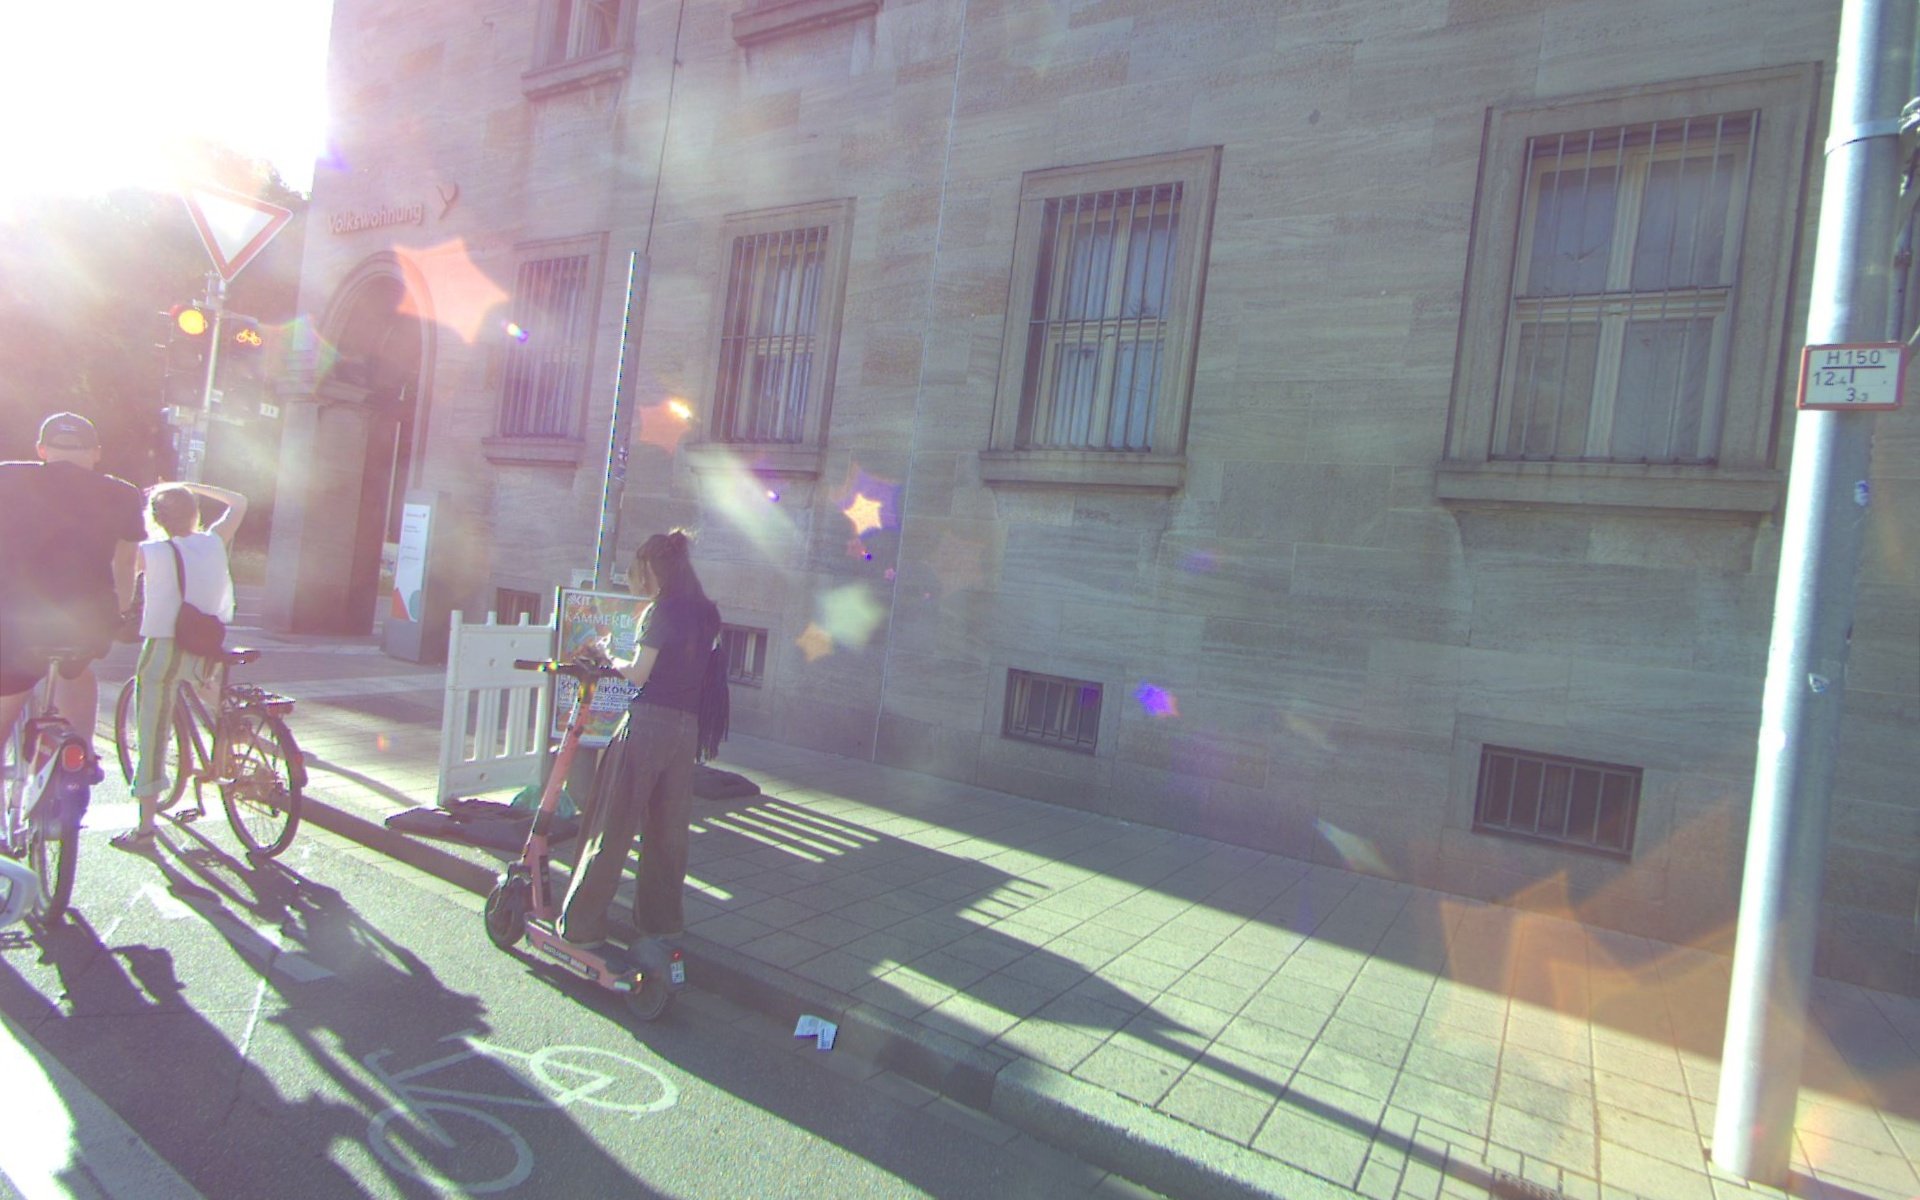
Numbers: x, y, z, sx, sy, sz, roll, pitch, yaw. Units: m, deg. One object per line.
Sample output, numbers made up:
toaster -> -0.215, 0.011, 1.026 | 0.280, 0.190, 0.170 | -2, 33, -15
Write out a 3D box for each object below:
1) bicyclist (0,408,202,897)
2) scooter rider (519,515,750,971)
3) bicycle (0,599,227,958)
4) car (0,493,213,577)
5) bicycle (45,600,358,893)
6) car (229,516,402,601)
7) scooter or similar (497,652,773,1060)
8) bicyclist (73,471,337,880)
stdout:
bicyclist -> -3.667, 0.175, 3.985 | 0.897, 1.736, 0.624 | 7, 0, 30
scooter rider -> -1.258, 0.510, 3.859 | 0.541, 1.581, 0.572 | 7, 0, -34
bicycle -> -3.731, 0.595, 3.990 | 1.717, 1.057, 0.624 | 7, 0, 31
car -> -23.489, -1.747, 27.349 | 1.967, 1.533, 4.586 | 6, -2, 32
bicycle -> -3.720, 0.634, 4.887 | 1.718, 1.057, 0.582 | 7, 0, 33
car -> -20.289, -1.257, 31.805 | 1.968, 2.037, 3.994 | 6, -2, 33
scooter or similar -> -1.275, 0.839, 3.796 | 0.569, 1.164, 1.260 | 3, 1, -36
bicyclist -> -3.652, 0.320, 4.866 | 0.934, 1.760, 0.584 | 7, 0, 32
